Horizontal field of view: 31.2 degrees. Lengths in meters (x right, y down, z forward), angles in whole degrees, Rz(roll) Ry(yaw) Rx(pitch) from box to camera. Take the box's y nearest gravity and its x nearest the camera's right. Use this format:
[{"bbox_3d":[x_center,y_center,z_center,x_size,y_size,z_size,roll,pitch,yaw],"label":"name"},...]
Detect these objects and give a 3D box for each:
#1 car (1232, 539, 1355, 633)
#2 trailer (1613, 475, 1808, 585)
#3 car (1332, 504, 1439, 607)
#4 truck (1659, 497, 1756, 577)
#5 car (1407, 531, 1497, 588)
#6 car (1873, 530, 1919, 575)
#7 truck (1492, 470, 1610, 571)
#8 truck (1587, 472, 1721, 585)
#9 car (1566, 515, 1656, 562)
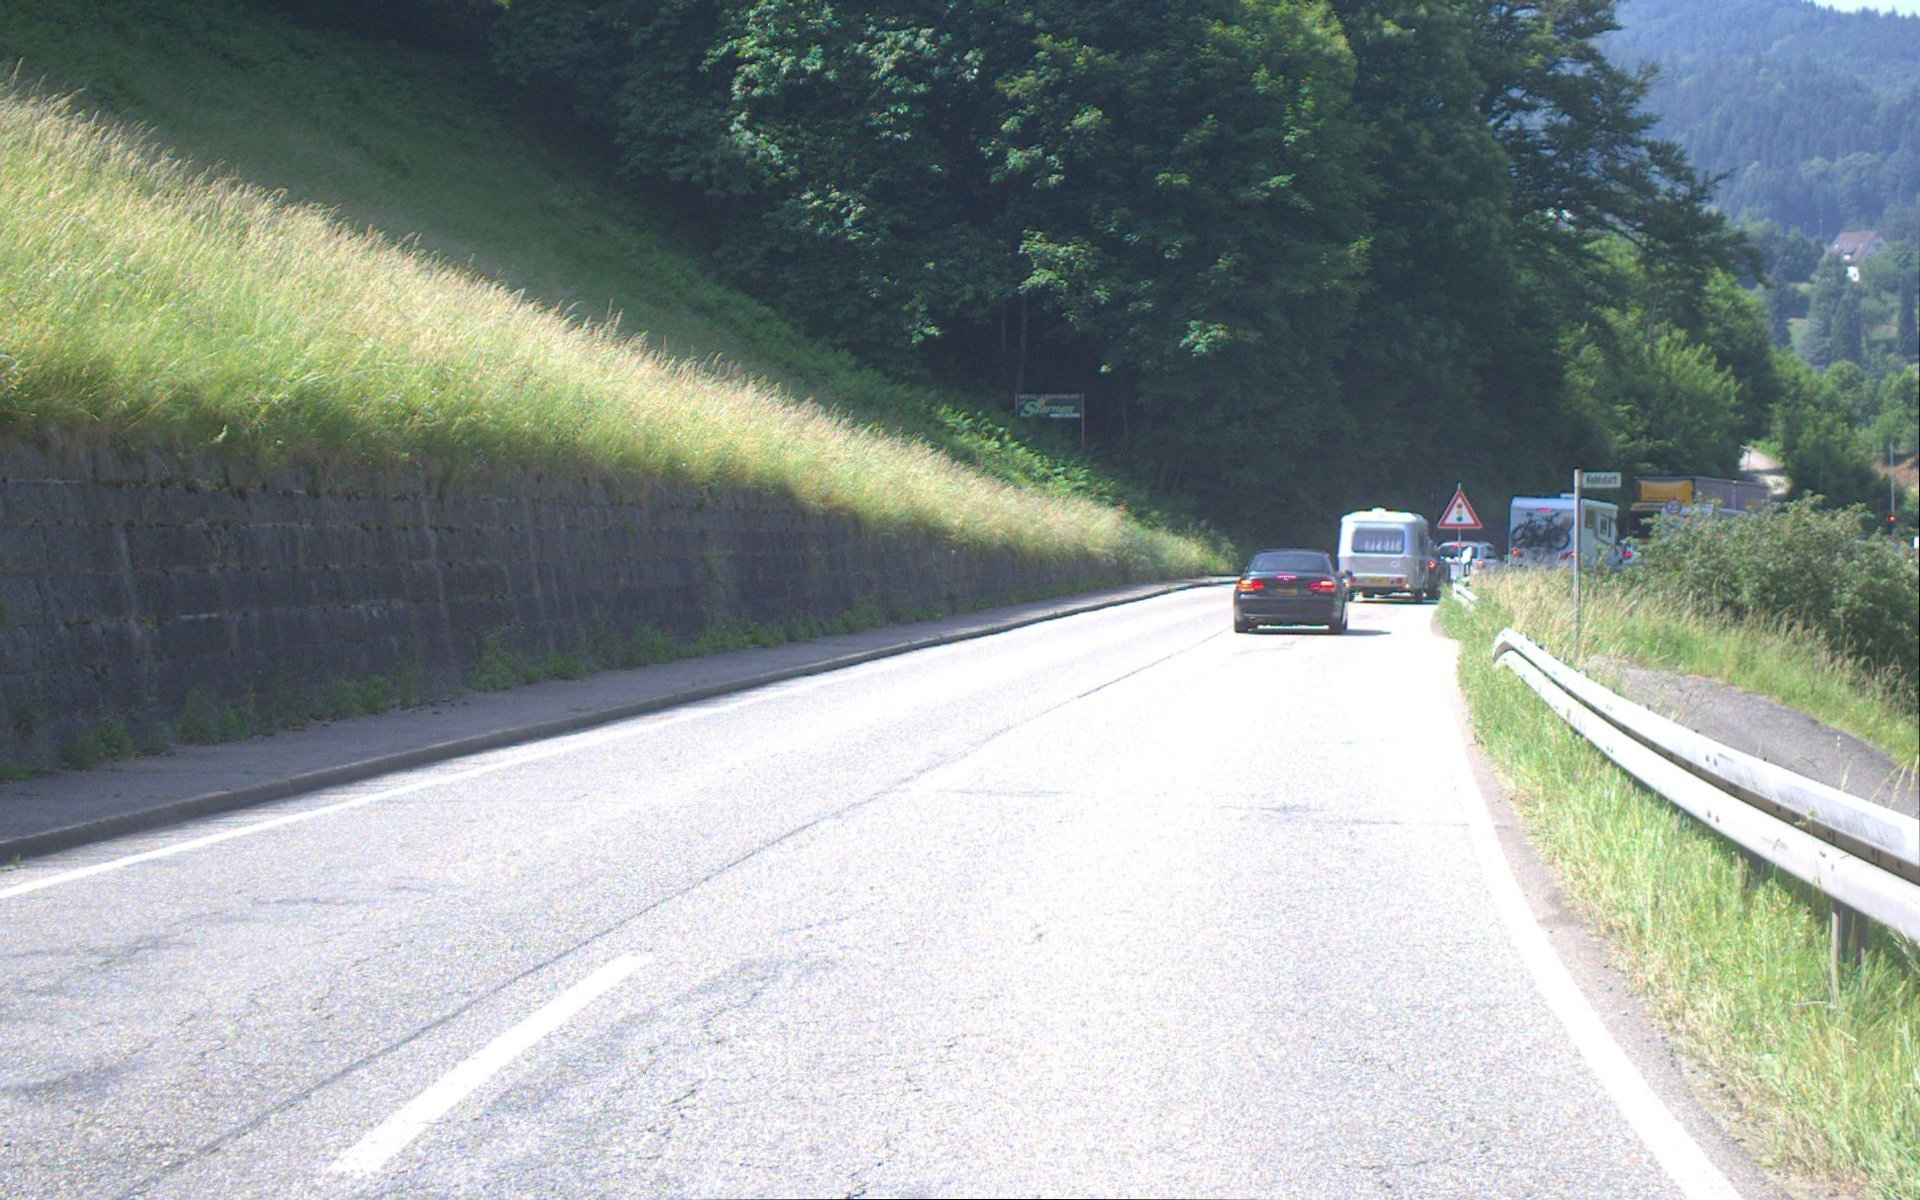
[{"bbox_3d":[5.457,-0.254,55.887,1.772,1.331,3.766,2,3,8],"label":"car"},{"bbox_3d":[32.441,-2.974,147.864,3.266,4.402,15.289,3,2,31],"label":"trailer"},{"bbox_3d":[10.559,-1.130,85.002,1.995,2.344,4.911,2,3,14],"label":"car"},{"bbox_3d":[28.509,-2.366,131.023,2.240,2.794,6.224,3,1,24],"label":"truck"},{"bbox_3d":[14.151,-1.167,98.739,1.995,1.479,3.997,4,2,15],"label":"car"},{"bbox_3d":[43.995,-2.204,159.752,1.997,1.919,3.994,4,2,29],"label":"car"},{"bbox_3d":[19.048,-2.575,110.510,2.793,2.987,6.863,4,3,16],"label":"truck"},{"bbox_3d":[28.592,-2.952,141.442,3.194,4.381,6.560,4,3,31],"label":"truck"},{"bbox_3d":[22.409,-2.114,118.275,1.996,1.459,3.995,5,3,26],"label":"car"}]
